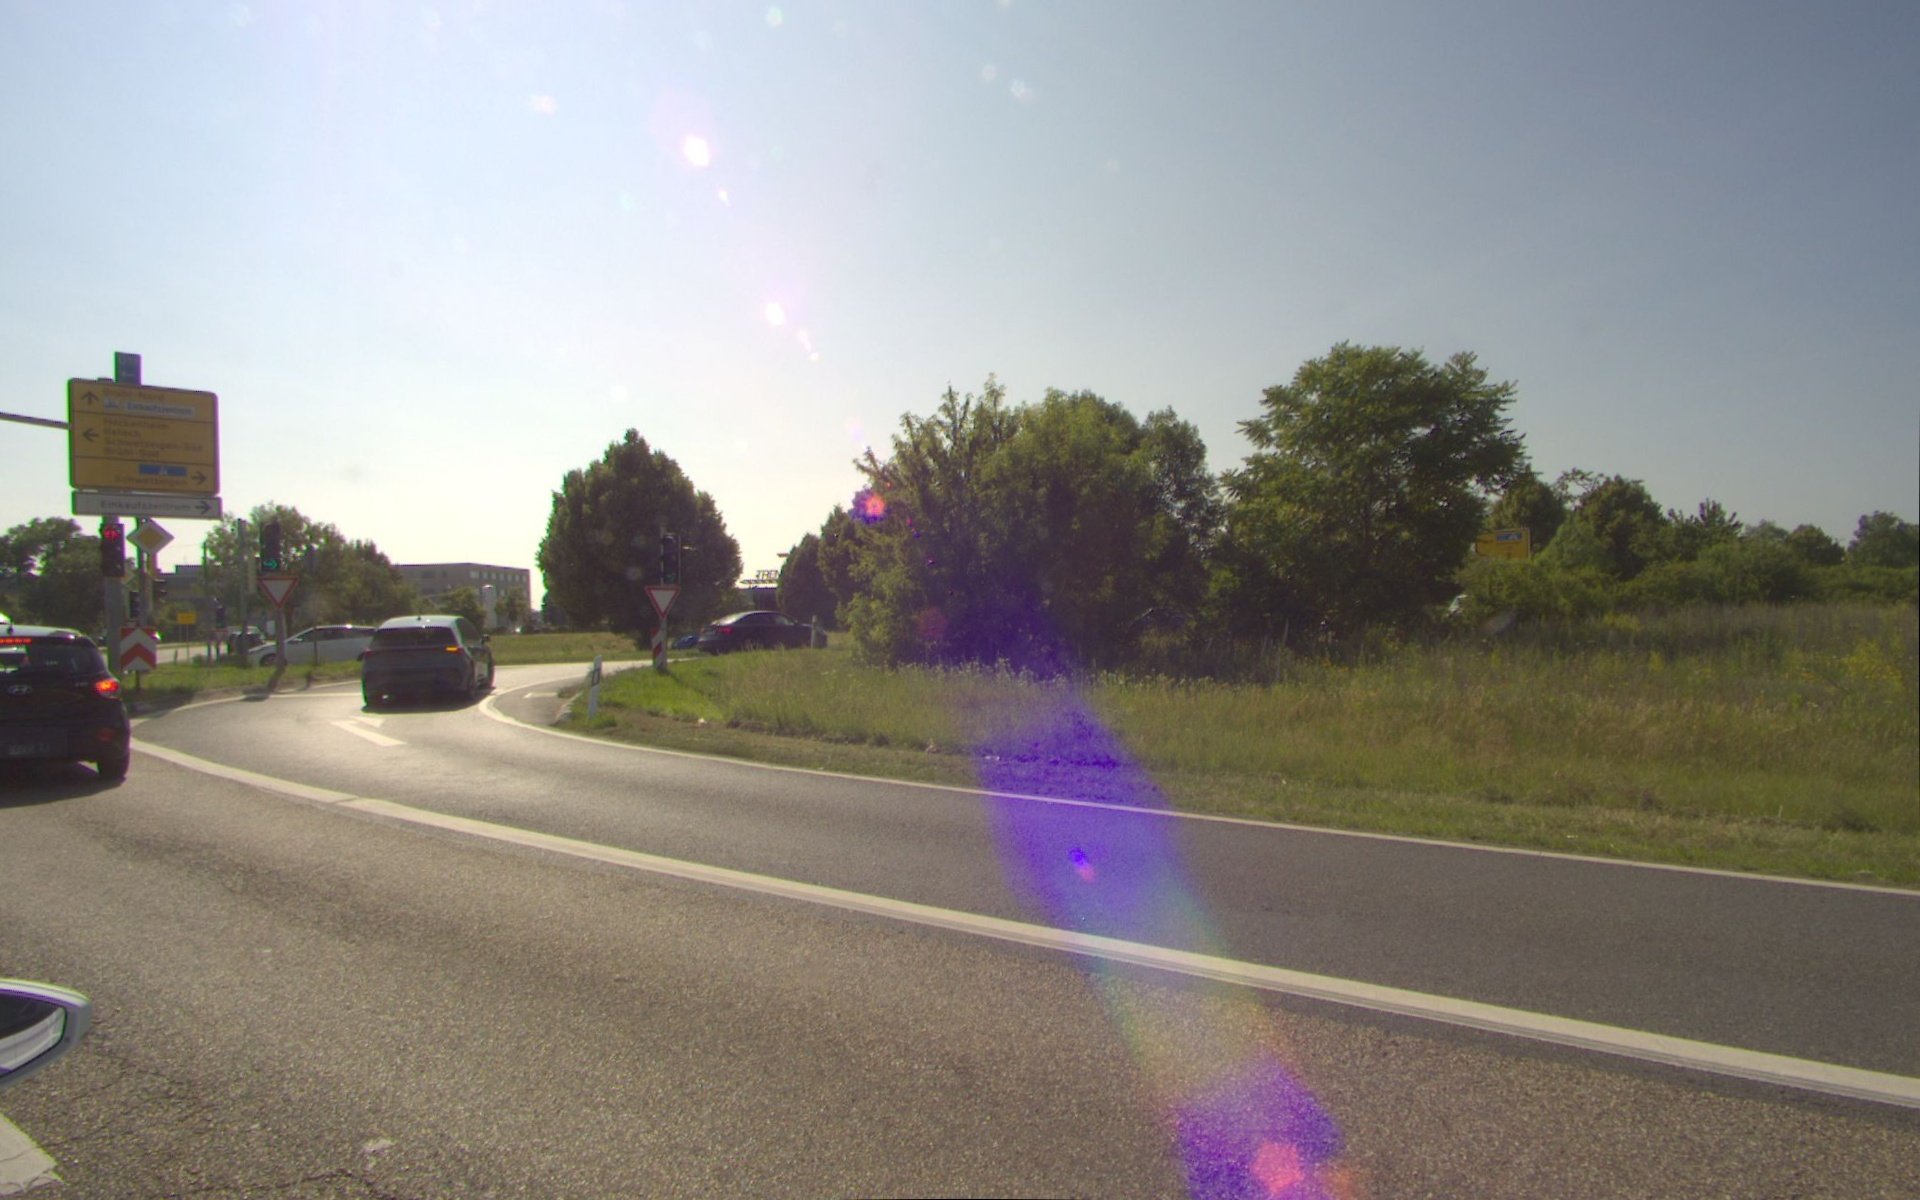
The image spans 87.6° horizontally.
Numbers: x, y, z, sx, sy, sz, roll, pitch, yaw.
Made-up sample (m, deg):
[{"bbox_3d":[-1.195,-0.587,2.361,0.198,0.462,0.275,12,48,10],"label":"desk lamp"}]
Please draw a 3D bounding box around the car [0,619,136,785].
[{"bbox_3d":[-9.638,0.927,9.984,3.256,1.467,1.626,-1,-2,40],"label":"car"}]

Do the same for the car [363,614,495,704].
[{"bbox_3d":[-10.107,1.045,19.345,1.749,1.537,4.088,0,-1,-21],"label":"car"}]

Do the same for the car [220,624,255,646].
[{"bbox_3d":[-61.641,3.028,85.491,1.695,1.842,3.764,1,-2,-25],"label":"car"}]

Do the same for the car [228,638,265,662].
[{"bbox_3d":[-51.809,3.618,72.754,1.857,1.694,3.750,1,-2,-31],"label":"car"}]

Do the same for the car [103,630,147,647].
[{"bbox_3d":[-76.935,3.528,92.295,1.686,1.568,3.607,1,-2,-15],"label":"car"}]

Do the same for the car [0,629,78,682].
[{"bbox_3d":[-29.722,1.714,30.640,3.826,1.539,1.798,0,-1,-32],"label":"car"}]

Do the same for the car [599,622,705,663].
[{"bbox_3d":[-12.467,1.697,40.618,3.823,1.539,1.799,0,-1,-29],"label":"car"}]

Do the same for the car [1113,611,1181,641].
[{"bbox_3d":[10.040,1.406,53.708,3.494,1.535,1.455,1,-2,-30],"label":"car"}]

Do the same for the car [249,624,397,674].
[{"bbox_3d":[-20.158,1.513,31.879,3.855,1.484,1.715,0,-1,-30],"label":"car"}]

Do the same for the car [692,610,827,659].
[{"bbox_3d":[-6.210,1.039,31.303,1.628,1.404,3.967,0,0,41],"label":"car"}]

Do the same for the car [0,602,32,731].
[{"bbox_3d":[-14.374,0.906,13.987,3.705,1.698,1.626,-1,-2,40],"label":"car"}]

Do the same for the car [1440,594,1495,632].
[{"bbox_3d":[34.580,0.936,68.169,3.850,2.467,1.455,1,-2,-30],"label":"car"}]
